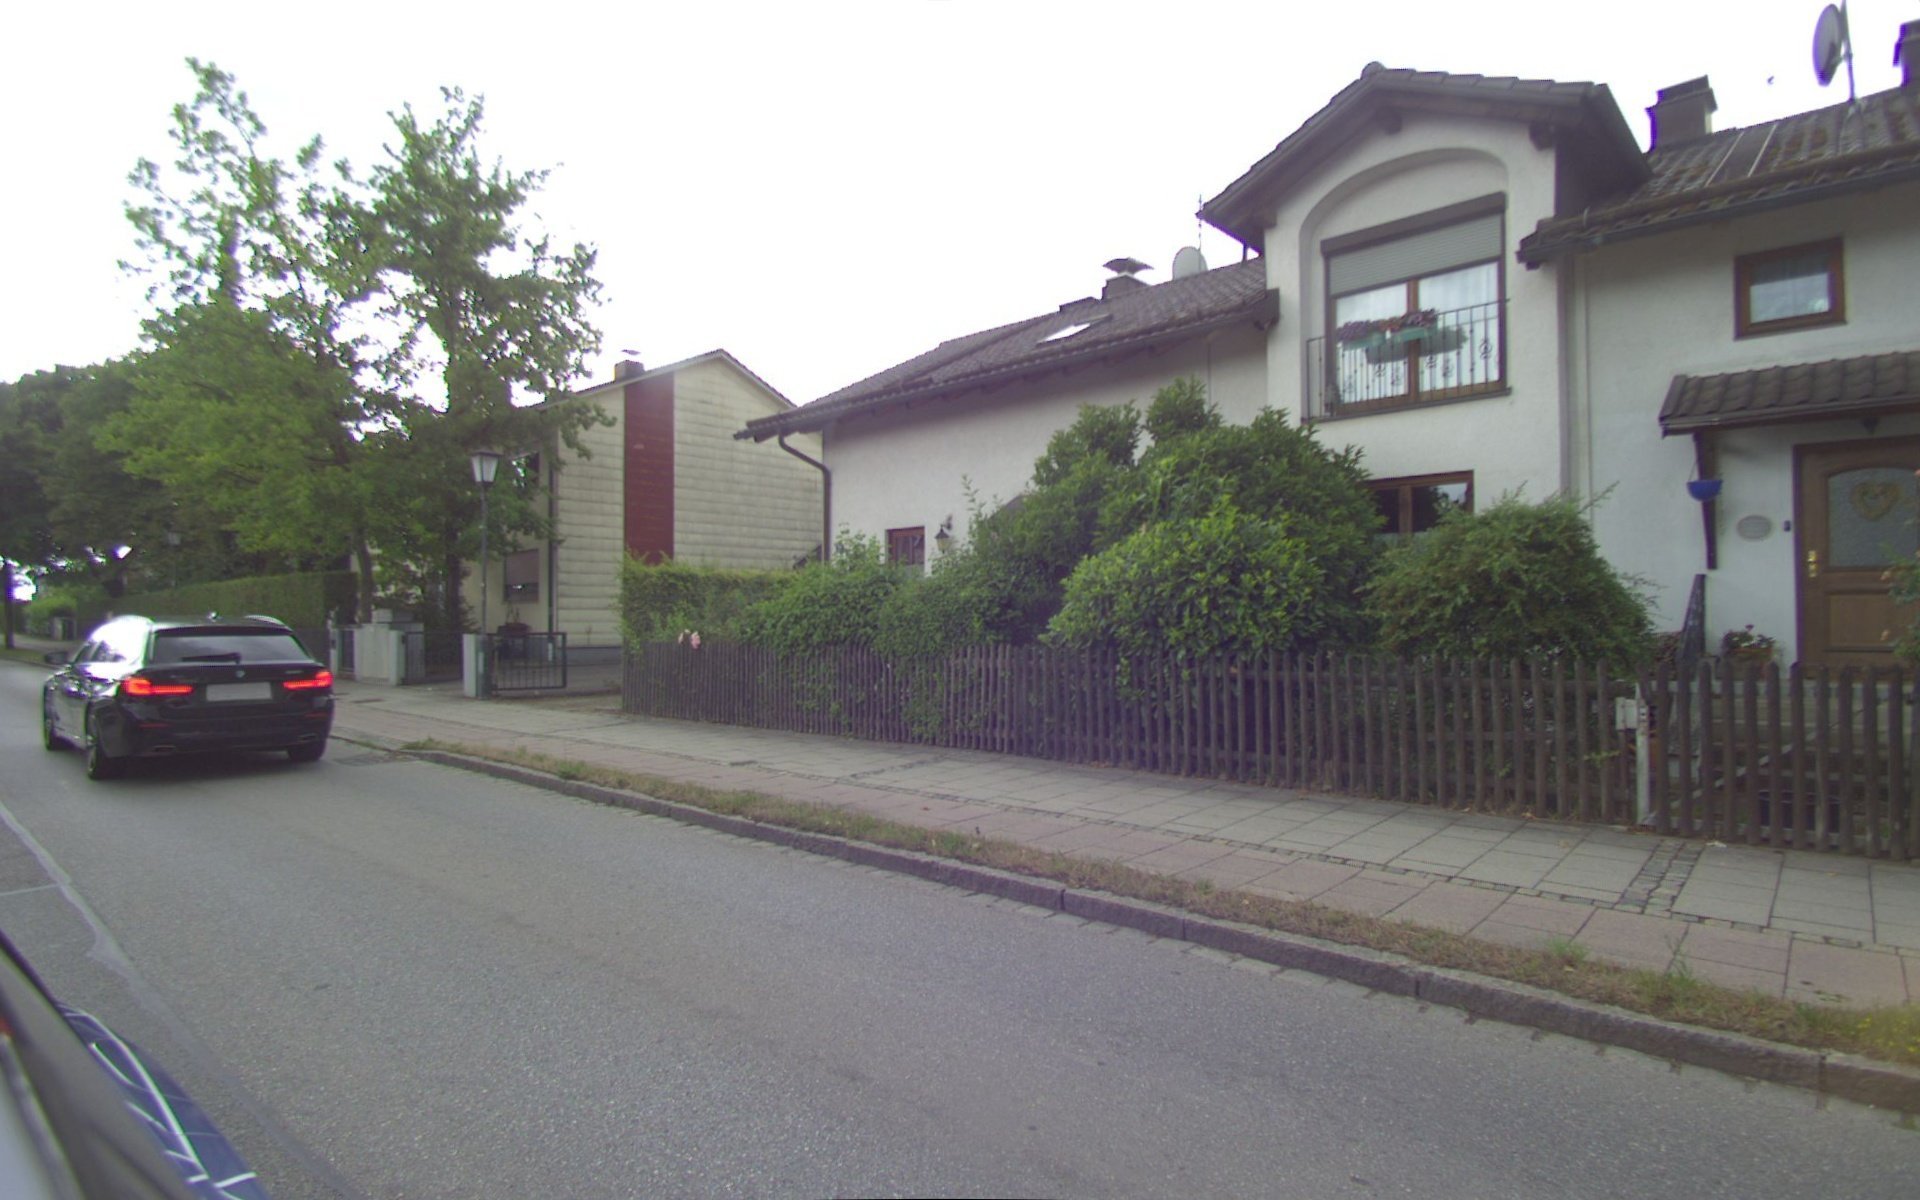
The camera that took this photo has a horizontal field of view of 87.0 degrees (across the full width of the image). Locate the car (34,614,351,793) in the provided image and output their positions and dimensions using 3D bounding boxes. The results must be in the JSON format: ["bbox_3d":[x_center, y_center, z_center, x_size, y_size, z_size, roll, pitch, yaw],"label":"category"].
[{"bbox_3d":[-8.102,0.891,10.509,4.548,1.465,1.826,-1,-1,42],"label":"car"}]

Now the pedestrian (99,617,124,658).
[{"bbox_3d":[-31.051,1.366,37.026,0.563,1.448,0.623,-1,-1,41],"label":"pedestrian"}]
